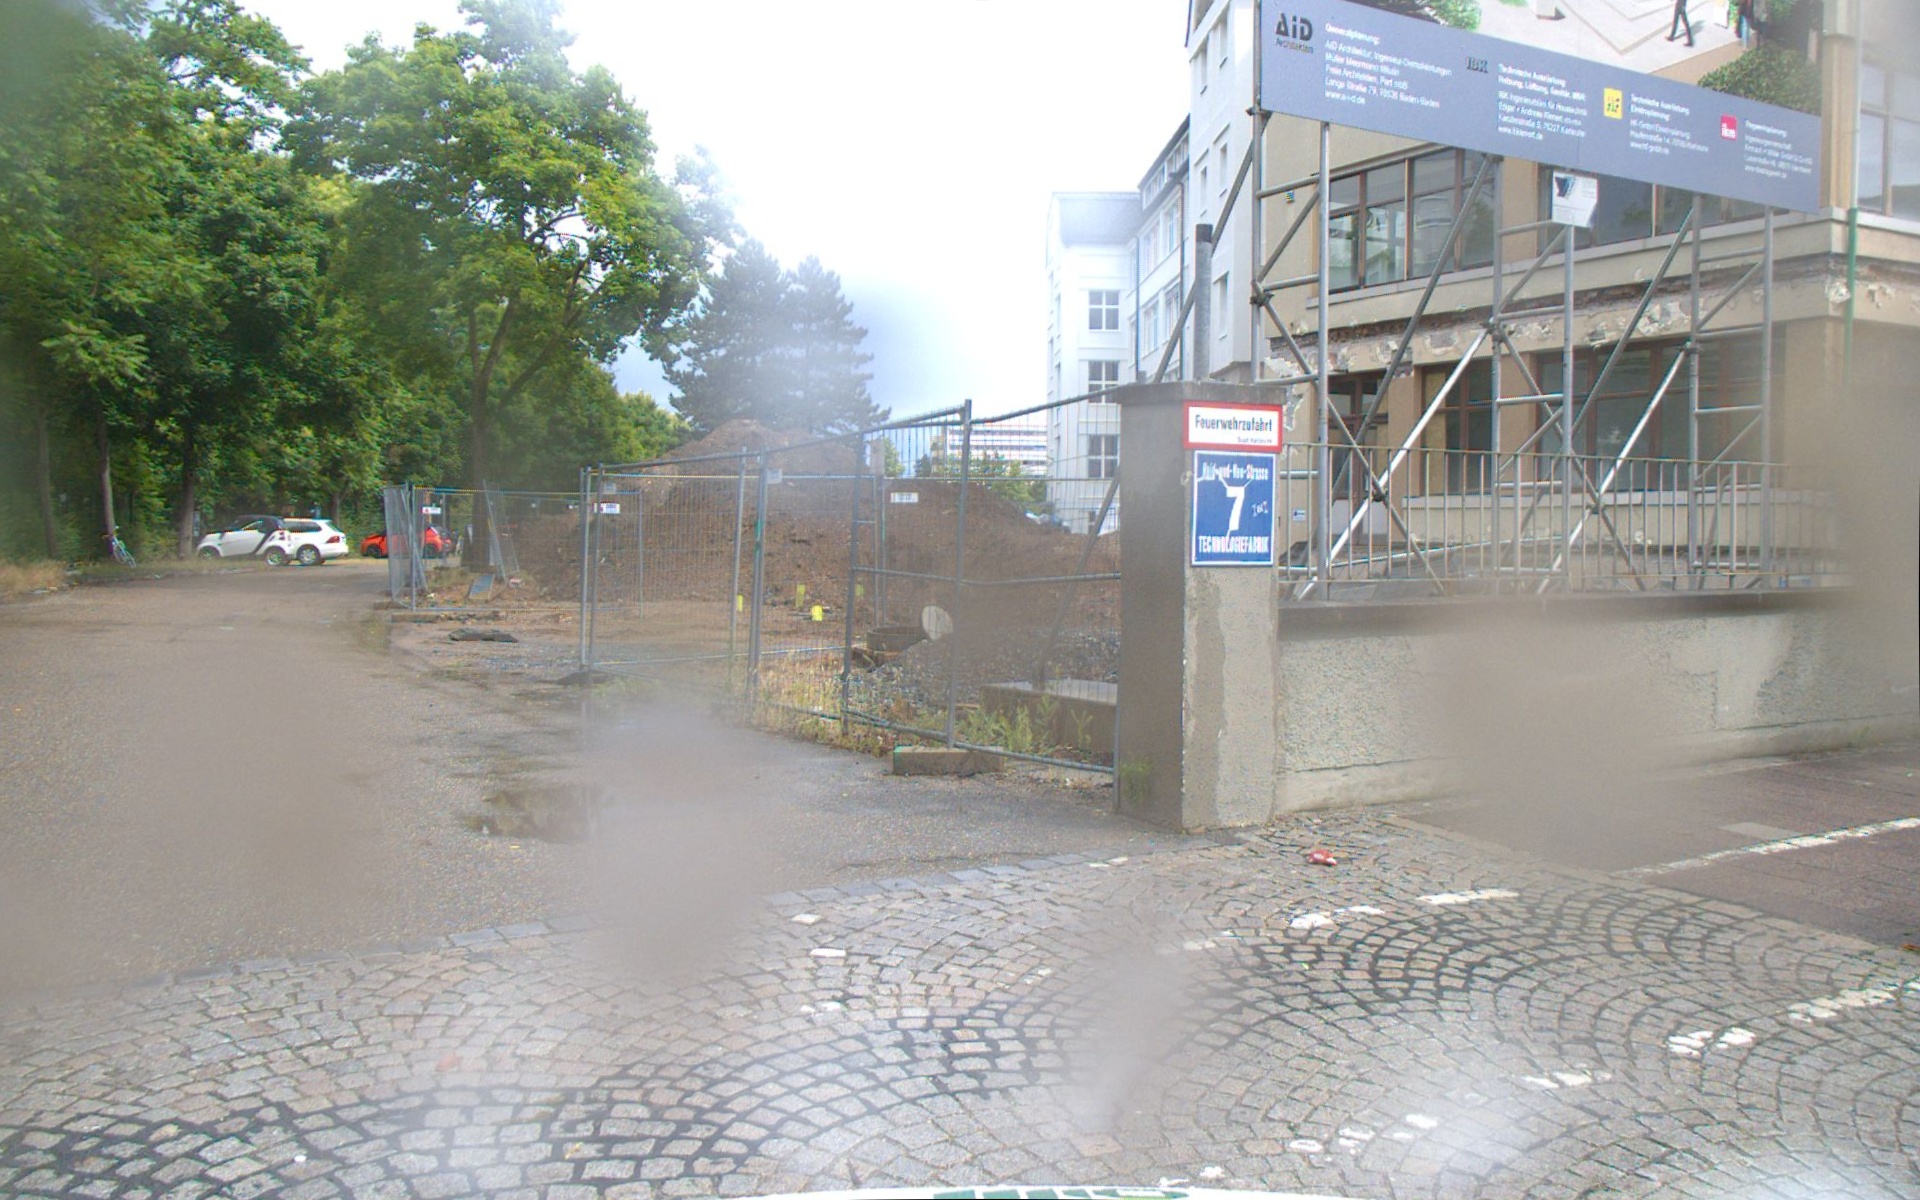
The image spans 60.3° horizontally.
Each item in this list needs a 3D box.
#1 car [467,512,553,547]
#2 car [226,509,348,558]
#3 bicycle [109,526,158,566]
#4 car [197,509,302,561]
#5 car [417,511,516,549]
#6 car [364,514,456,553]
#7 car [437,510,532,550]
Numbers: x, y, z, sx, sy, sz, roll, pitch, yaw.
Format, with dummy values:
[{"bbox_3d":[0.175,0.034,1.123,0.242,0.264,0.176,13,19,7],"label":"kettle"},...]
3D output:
[{"bbox_3d":[-22.672,-3.546,83.478,3.911,1.586,1.762,2,3,-7],"label":"car"},{"bbox_3d":[-21.350,-2.118,52.594,3.376,1.493,1.734,0,4,-16],"label":"car"},{"bbox_3d":[-19.228,-1.260,38.510,0.466,0.875,1.455,2,3,-3],"label":"bicycle"},{"bbox_3d":[-21.544,-1.985,50.231,2.709,1.509,1.587,0,4,-16],"label":"car"},{"bbox_3d":[-22.254,-3.175,74.644,3.908,1.521,1.993,2,3,-4],"label":"car"},{"bbox_3d":[-22.480,-2.725,67.696,3.217,1.449,1.593,2,3,-1],"label":"car"},{"bbox_3d":[-22.327,-3.309,77.781,4.031,1.678,1.844,2,3,-9],"label":"car"}]
